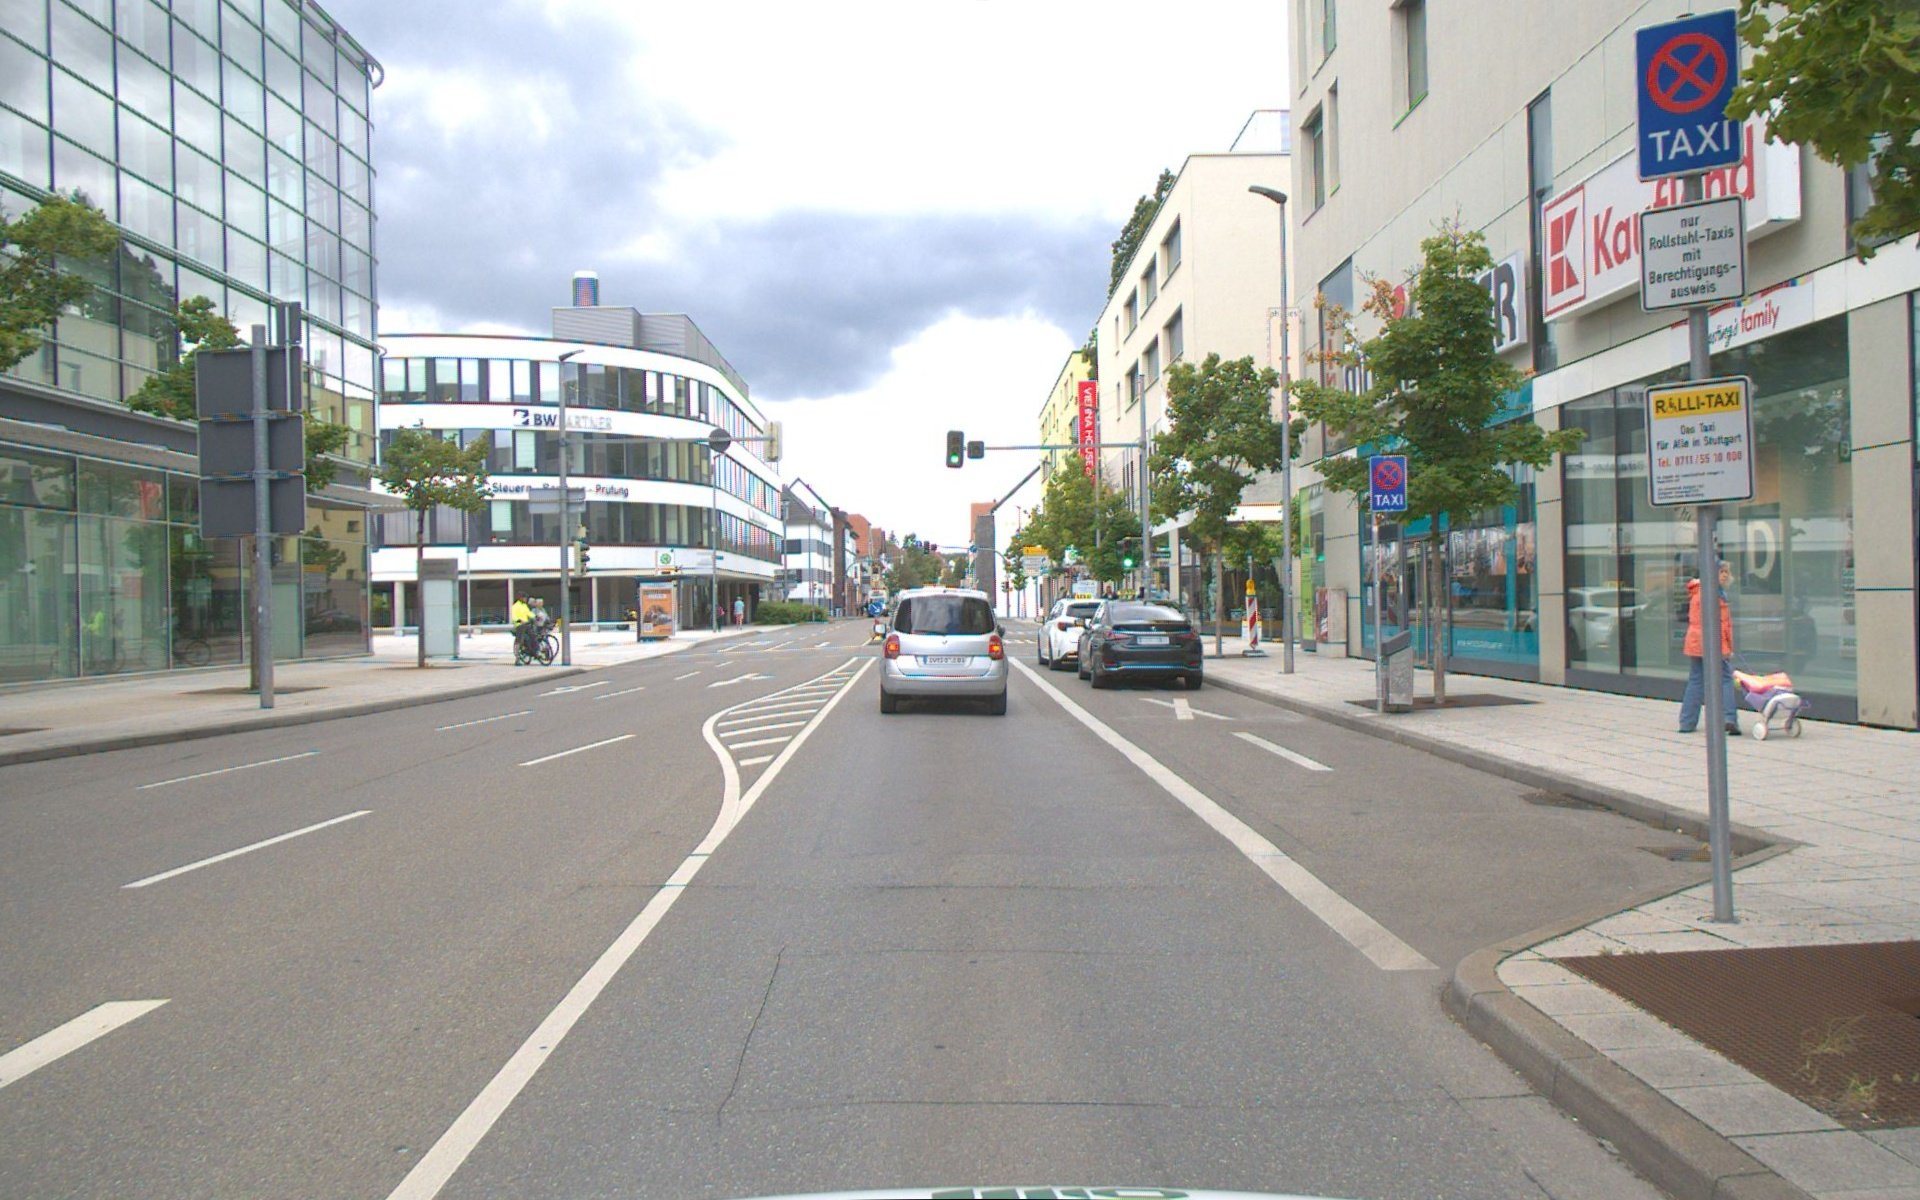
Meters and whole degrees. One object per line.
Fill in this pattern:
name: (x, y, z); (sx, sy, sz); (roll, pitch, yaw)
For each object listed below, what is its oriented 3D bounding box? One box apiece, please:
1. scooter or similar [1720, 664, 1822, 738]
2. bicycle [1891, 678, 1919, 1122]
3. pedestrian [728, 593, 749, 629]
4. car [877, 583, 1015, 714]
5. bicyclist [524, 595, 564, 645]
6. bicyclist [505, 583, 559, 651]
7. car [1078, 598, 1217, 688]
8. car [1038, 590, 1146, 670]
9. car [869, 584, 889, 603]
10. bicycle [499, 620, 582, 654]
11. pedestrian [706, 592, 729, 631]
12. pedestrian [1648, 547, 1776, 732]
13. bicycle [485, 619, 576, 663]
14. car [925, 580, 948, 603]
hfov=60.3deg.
scooter or similar: (7.024, 0.870, 14.346); (0.539, 0.555, 0.642); (-4, 0, -1)
bicycle: (3.263, 0.713, 3.824); (1.789, 1.093, 0.752); (-2, 0, -3)
pedestrian: (-11.945, 0.583, 89.192); (0.941, 1.865, 1.250); (-1, 0, -1)
car: (-0.262, 0.588, 22.151); (1.636, 1.581, 3.639); (1, 0, -3)
bicyclist: (-11.398, 0.546, 45.328); (0.639, 1.350, 0.826); (-1, 0, 36)
bicyclist: (-10.907, 0.438, 42.138); (1.000, 1.689, 0.919); (2, -1, -41)
car: (3.103, 0.676, 28.144); (1.839, 1.358, 3.999); (1, 0, -1)
car: (2.697, 0.580, 34.568); (1.839, 1.535, 3.999); (1, 0, -1)
car: (-9.136, -0.703, 187.308); (2.126, 2.049, 4.257); (-1, 0, -1)
bicycle: (-11.534, 1.005, 45.429); (2.475, 0.914, 0.826); (-1, 0, 36)
pedestrian: (-11.780, 0.534, 80.424); (0.941, 1.865, 1.250); (-1, 0, -1)
pedestrian: (6.872, 0.352, 15.147); (0.696, 1.601, 0.812); (-4, 0, -1)
bicycle: (-10.977, 1.033, 42.193); (1.000, 1.036, 3.083); (2, -1, -41)
car: (-2.196, -0.771, 155.230); (2.126, 2.049, 4.257); (-1, 0, -1)
